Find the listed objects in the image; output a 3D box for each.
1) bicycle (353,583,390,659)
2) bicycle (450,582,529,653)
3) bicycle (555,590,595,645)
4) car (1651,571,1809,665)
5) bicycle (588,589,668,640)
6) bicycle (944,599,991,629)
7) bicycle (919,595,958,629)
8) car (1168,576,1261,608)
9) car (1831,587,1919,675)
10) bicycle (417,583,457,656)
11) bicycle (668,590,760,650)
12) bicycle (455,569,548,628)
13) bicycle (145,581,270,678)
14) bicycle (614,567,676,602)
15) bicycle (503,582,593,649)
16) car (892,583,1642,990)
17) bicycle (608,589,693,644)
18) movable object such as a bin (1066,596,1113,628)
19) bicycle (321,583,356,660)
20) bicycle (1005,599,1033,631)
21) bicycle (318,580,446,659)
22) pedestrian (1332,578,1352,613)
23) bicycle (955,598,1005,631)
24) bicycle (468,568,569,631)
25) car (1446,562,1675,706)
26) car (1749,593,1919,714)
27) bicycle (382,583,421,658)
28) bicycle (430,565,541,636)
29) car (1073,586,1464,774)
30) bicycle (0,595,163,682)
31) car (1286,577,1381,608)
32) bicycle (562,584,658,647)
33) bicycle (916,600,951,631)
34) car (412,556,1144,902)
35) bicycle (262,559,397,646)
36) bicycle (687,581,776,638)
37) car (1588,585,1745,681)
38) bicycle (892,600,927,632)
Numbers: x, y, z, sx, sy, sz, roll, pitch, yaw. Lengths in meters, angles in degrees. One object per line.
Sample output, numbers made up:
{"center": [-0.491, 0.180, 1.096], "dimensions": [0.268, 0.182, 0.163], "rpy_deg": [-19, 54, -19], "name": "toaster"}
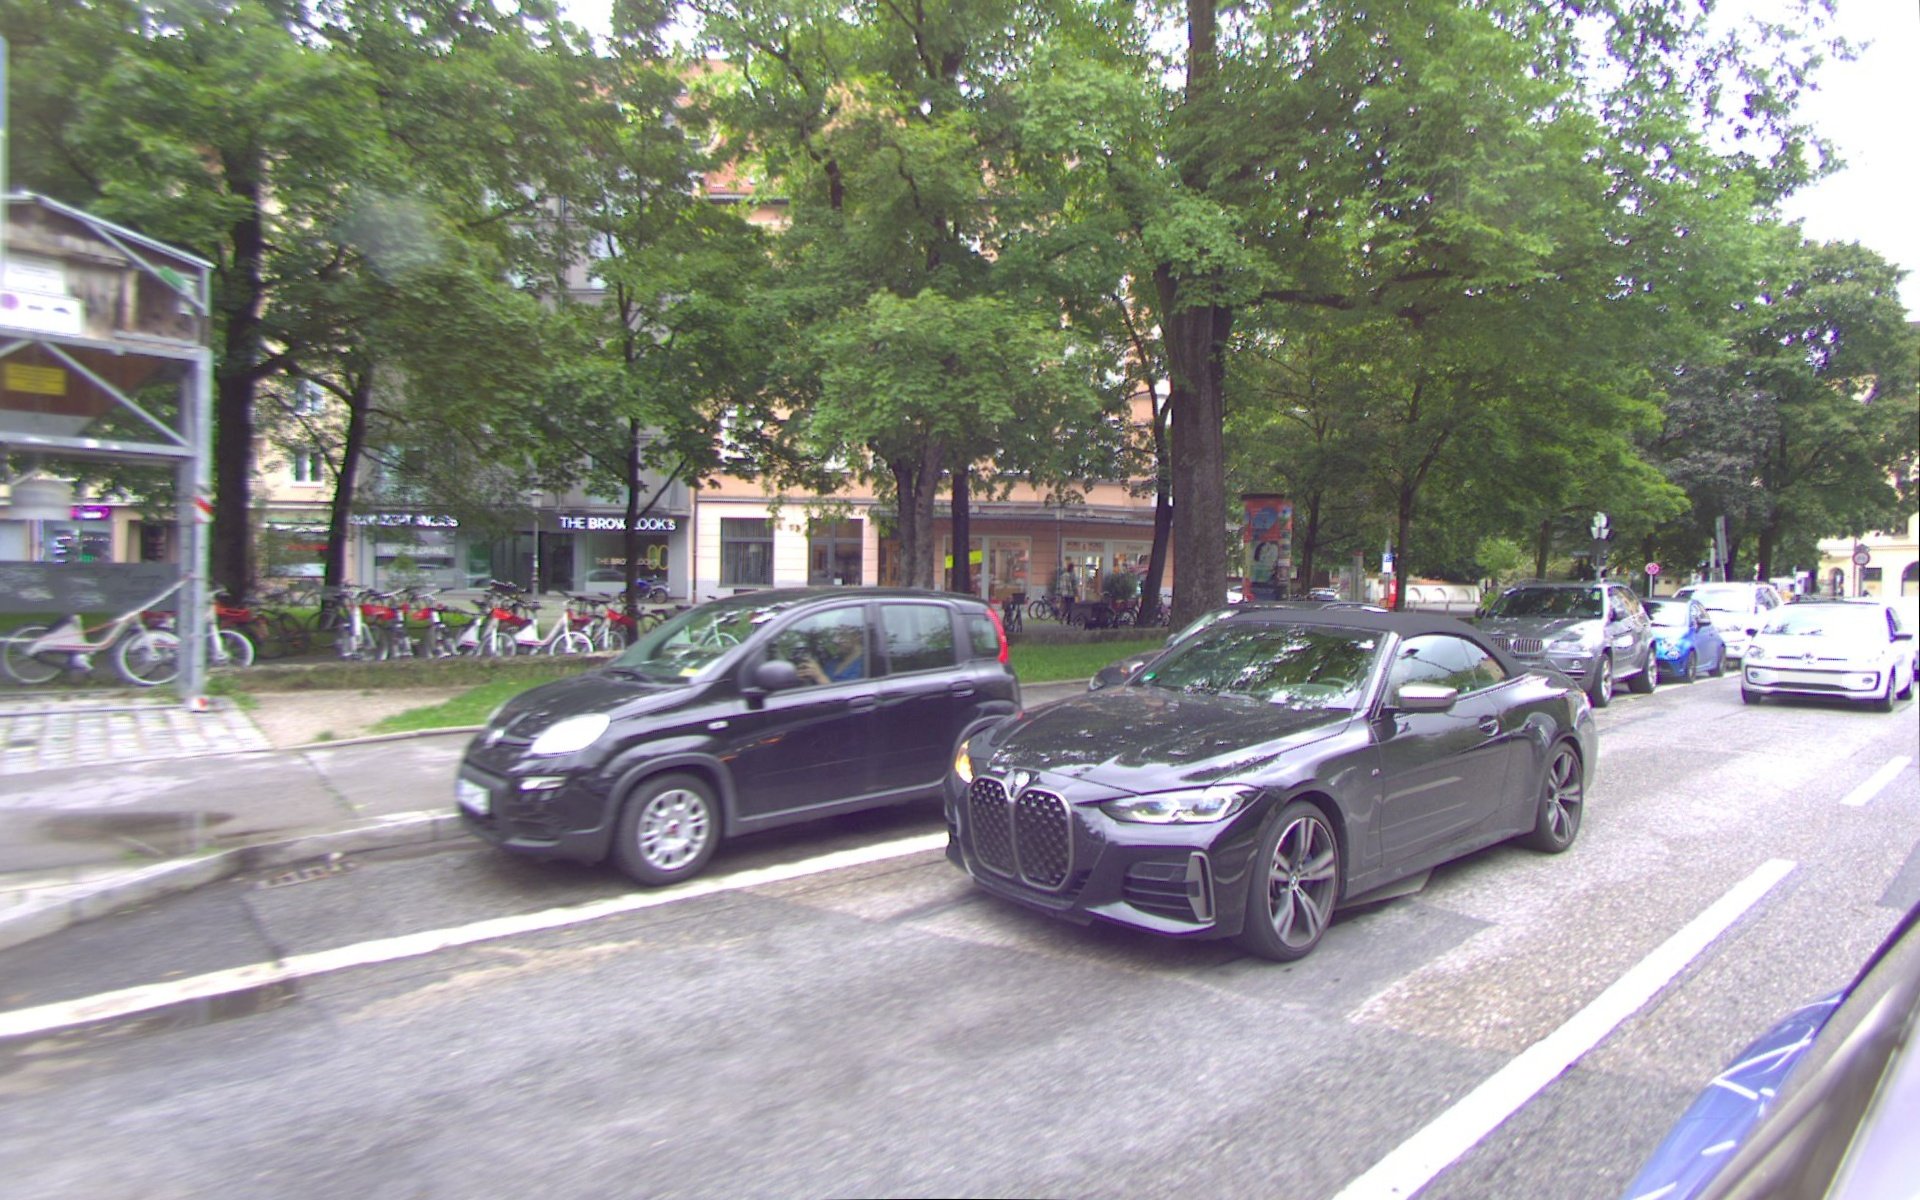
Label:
{"center": [-7.439, 0.246, 12.771], "dimensions": [0.307, 0.905, 1.413], "rpy_deg": [-1, 1, -34], "name": "bicycle"}
{"center": [-6.282, 0.224, 13.488], "dimensions": [1.403, 0.905, 0.309], "rpy_deg": [0, 0, 36], "name": "bicycle"}
{"center": [-6.643, 0.287, 17.497], "dimensions": [0.307, 0.905, 1.414], "rpy_deg": [-1, 1, -7], "name": "bicycle"}
{"center": [17.329, 0.328, 22.681], "dimensions": [4.936, 1.879, 1.847], "rpy_deg": [0, 2, -41], "name": "car"}
{"center": [-6.202, 0.262, 18.961], "dimensions": [1.386, 0.905, 0.313], "rpy_deg": [-1, 0, -36], "name": "bicycle"}
{"center": [0.200, 0.340, 25.735], "dimensions": [1.154, 0.732, 0.320], "rpy_deg": [-1, 0, -19], "name": "bicycle"}
{"center": [-0.501, 0.262, 22.986], "dimensions": [0.313, 0.732, 1.179], "rpy_deg": [-1, 1, -32], "name": "bicycle"}
{"center": [12.416, -0.399, 49.597], "dimensions": [1.825, 1.485, 4.446], "rpy_deg": [-1, 1, -31], "name": "car"}
{"center": [18.296, 0.546, 19.630], "dimensions": [3.820, 1.549, 1.647], "rpy_deg": [0, 2, -42], "name": "car"}
{"center": [-6.835, 0.234, 13.211], "dimensions": [0.307, 0.905, 1.413], "rpy_deg": [-1, 1, -34], "name": "bicycle"}
{"center": [-3.811, 0.313, 15.663], "dimensions": [1.391, 0.905, 0.312], "rpy_deg": [-1, 0, 13], "name": "bicycle"}
{"center": [-11.862, -0.044, 26.167], "dimensions": [2.439, 1.373, 0.626], "rpy_deg": [3, 2, 20], "name": "bicycle"}
{"center": [-8.750, 0.314, 11.729], "dimensions": [2.228, 1.029, 0.622], "rpy_deg": [0, 1, 39], "name": "bicycle"}
{"center": [-12.012, -0.600, 38.586], "dimensions": [2.204, 1.305, 0.507], "rpy_deg": [-1, 0, -4], "name": "bicycle"}
{"center": [-5.874, 0.206, 14.409], "dimensions": [1.397, 0.905, 0.311], "rpy_deg": [1, 1, 24], "name": "bicycle"}
{"center": [2.041, 0.643, 5.744], "dimensions": [4.712, 1.406, 1.728], "rpy_deg": [0, 2, -39], "name": "car"}
{"center": [-5.376, 0.271, 17.637], "dimensions": [1.386, 0.905, 0.313], "rpy_deg": [-1, 0, -36], "name": "bicycle"}
{"center": [3.704, 0.335, 28.987], "dimensions": [0.759, 0.883, 1.182], "rpy_deg": [0, 2, -33], "name": "movable object such as a bin"}
{"center": [-7.728, 0.252, 12.573], "dimensions": [0.307, 0.905, 1.413], "rpy_deg": [-1, 1, -34], "name": "bicycle"}
{"center": [1.395, 0.346, 24.217], "dimensions": [0.312, 0.732, 1.181], "rpy_deg": [-1, 1, -15], "name": "bicycle"}
{"center": [-10.546, 0.339, 18.441], "dimensions": [2.439, 1.374, 0.626], "rpy_deg": [0, 0, 22], "name": "bicycle"}
{"center": [17.662, -0.215, 46.798], "dimensions": [0.632, 1.571, 0.603], "rpy_deg": [-1, 0, -35], "name": "pedestrian"}
{"center": [0.467, 0.323, 23.374], "dimensions": [1.155, 0.732, 0.319], "rpy_deg": [-1, 0, -30], "name": "bicycle"}
{"center": [-10.584, -0.032, 24.255], "dimensions": [2.439, 1.373, 0.626], "rpy_deg": [3, 2, 20], "name": "bicycle"}
{"center": [9.170, 0.395, 15.280], "dimensions": [1.932, 1.842, 4.481], "rpy_deg": [2, 2, 45], "name": "car"}
{"center": [12.836, 0.664, 14.632], "dimensions": [3.557, 1.484, 1.647], "rpy_deg": [0, 2, -42], "name": "car"}
{"center": [-7.159, 0.241, 12.961], "dimensions": [0.307, 0.905, 1.413], "rpy_deg": [-1, 1, -34], "name": "bicycle"}
{"center": [-10.310, -0.004, 21.960], "dimensions": [2.439, 1.373, 0.626], "rpy_deg": [3, 2, 20], "name": "bicycle"}
{"center": [3.325, 0.622, 10.335], "dimensions": [4.564, 1.479, 1.770], "rpy_deg": [0, 2, -43], "name": "car"}
{"center": [-9.457, 0.409, 10.865], "dimensions": [1.383, 0.905, 0.314], "rpy_deg": [1, 0, -15], "name": "bicycle"}
{"center": [19.179, -0.389, 52.178], "dimensions": [1.825, 1.485, 4.446], "rpy_deg": [-1, 1, -31], "name": "car"}
{"center": [-5.206, 0.229, 15.052], "dimensions": [1.391, 0.905, 0.312], "rpy_deg": [-1, 0, 13], "name": "bicycle"}
{"center": [-0.656, 0.362, 24.808], "dimensions": [0.313, 0.732, 1.179], "rpy_deg": [-1, 1, -32], "name": "bicycle"}
{"center": [-0.948, 0.548, 6.727], "dimensions": [4.474, 1.568, 1.834], "rpy_deg": [0, 2, -40], "name": "car"}
{"center": [-10.846, 0.025, 17.398], "dimensions": [2.439, 1.373, 0.626], "rpy_deg": [2, 1, 21], "name": "bicycle"}
{"center": [-3.683, 0.155, 16.301], "dimensions": [1.391, 0.905, 0.312], "rpy_deg": [-1, 0, 13], "name": "bicycle"}
{"center": [13.078, 0.540, 18.662], "dimensions": [3.598, 1.568, 1.522], "rpy_deg": [0, 2, -41], "name": "car"}
{"center": [-1.207, 0.378, 24.058], "dimensions": [0.313, 0.732, 1.179], "rpy_deg": [-1, 1, -32], "name": "bicycle"}
